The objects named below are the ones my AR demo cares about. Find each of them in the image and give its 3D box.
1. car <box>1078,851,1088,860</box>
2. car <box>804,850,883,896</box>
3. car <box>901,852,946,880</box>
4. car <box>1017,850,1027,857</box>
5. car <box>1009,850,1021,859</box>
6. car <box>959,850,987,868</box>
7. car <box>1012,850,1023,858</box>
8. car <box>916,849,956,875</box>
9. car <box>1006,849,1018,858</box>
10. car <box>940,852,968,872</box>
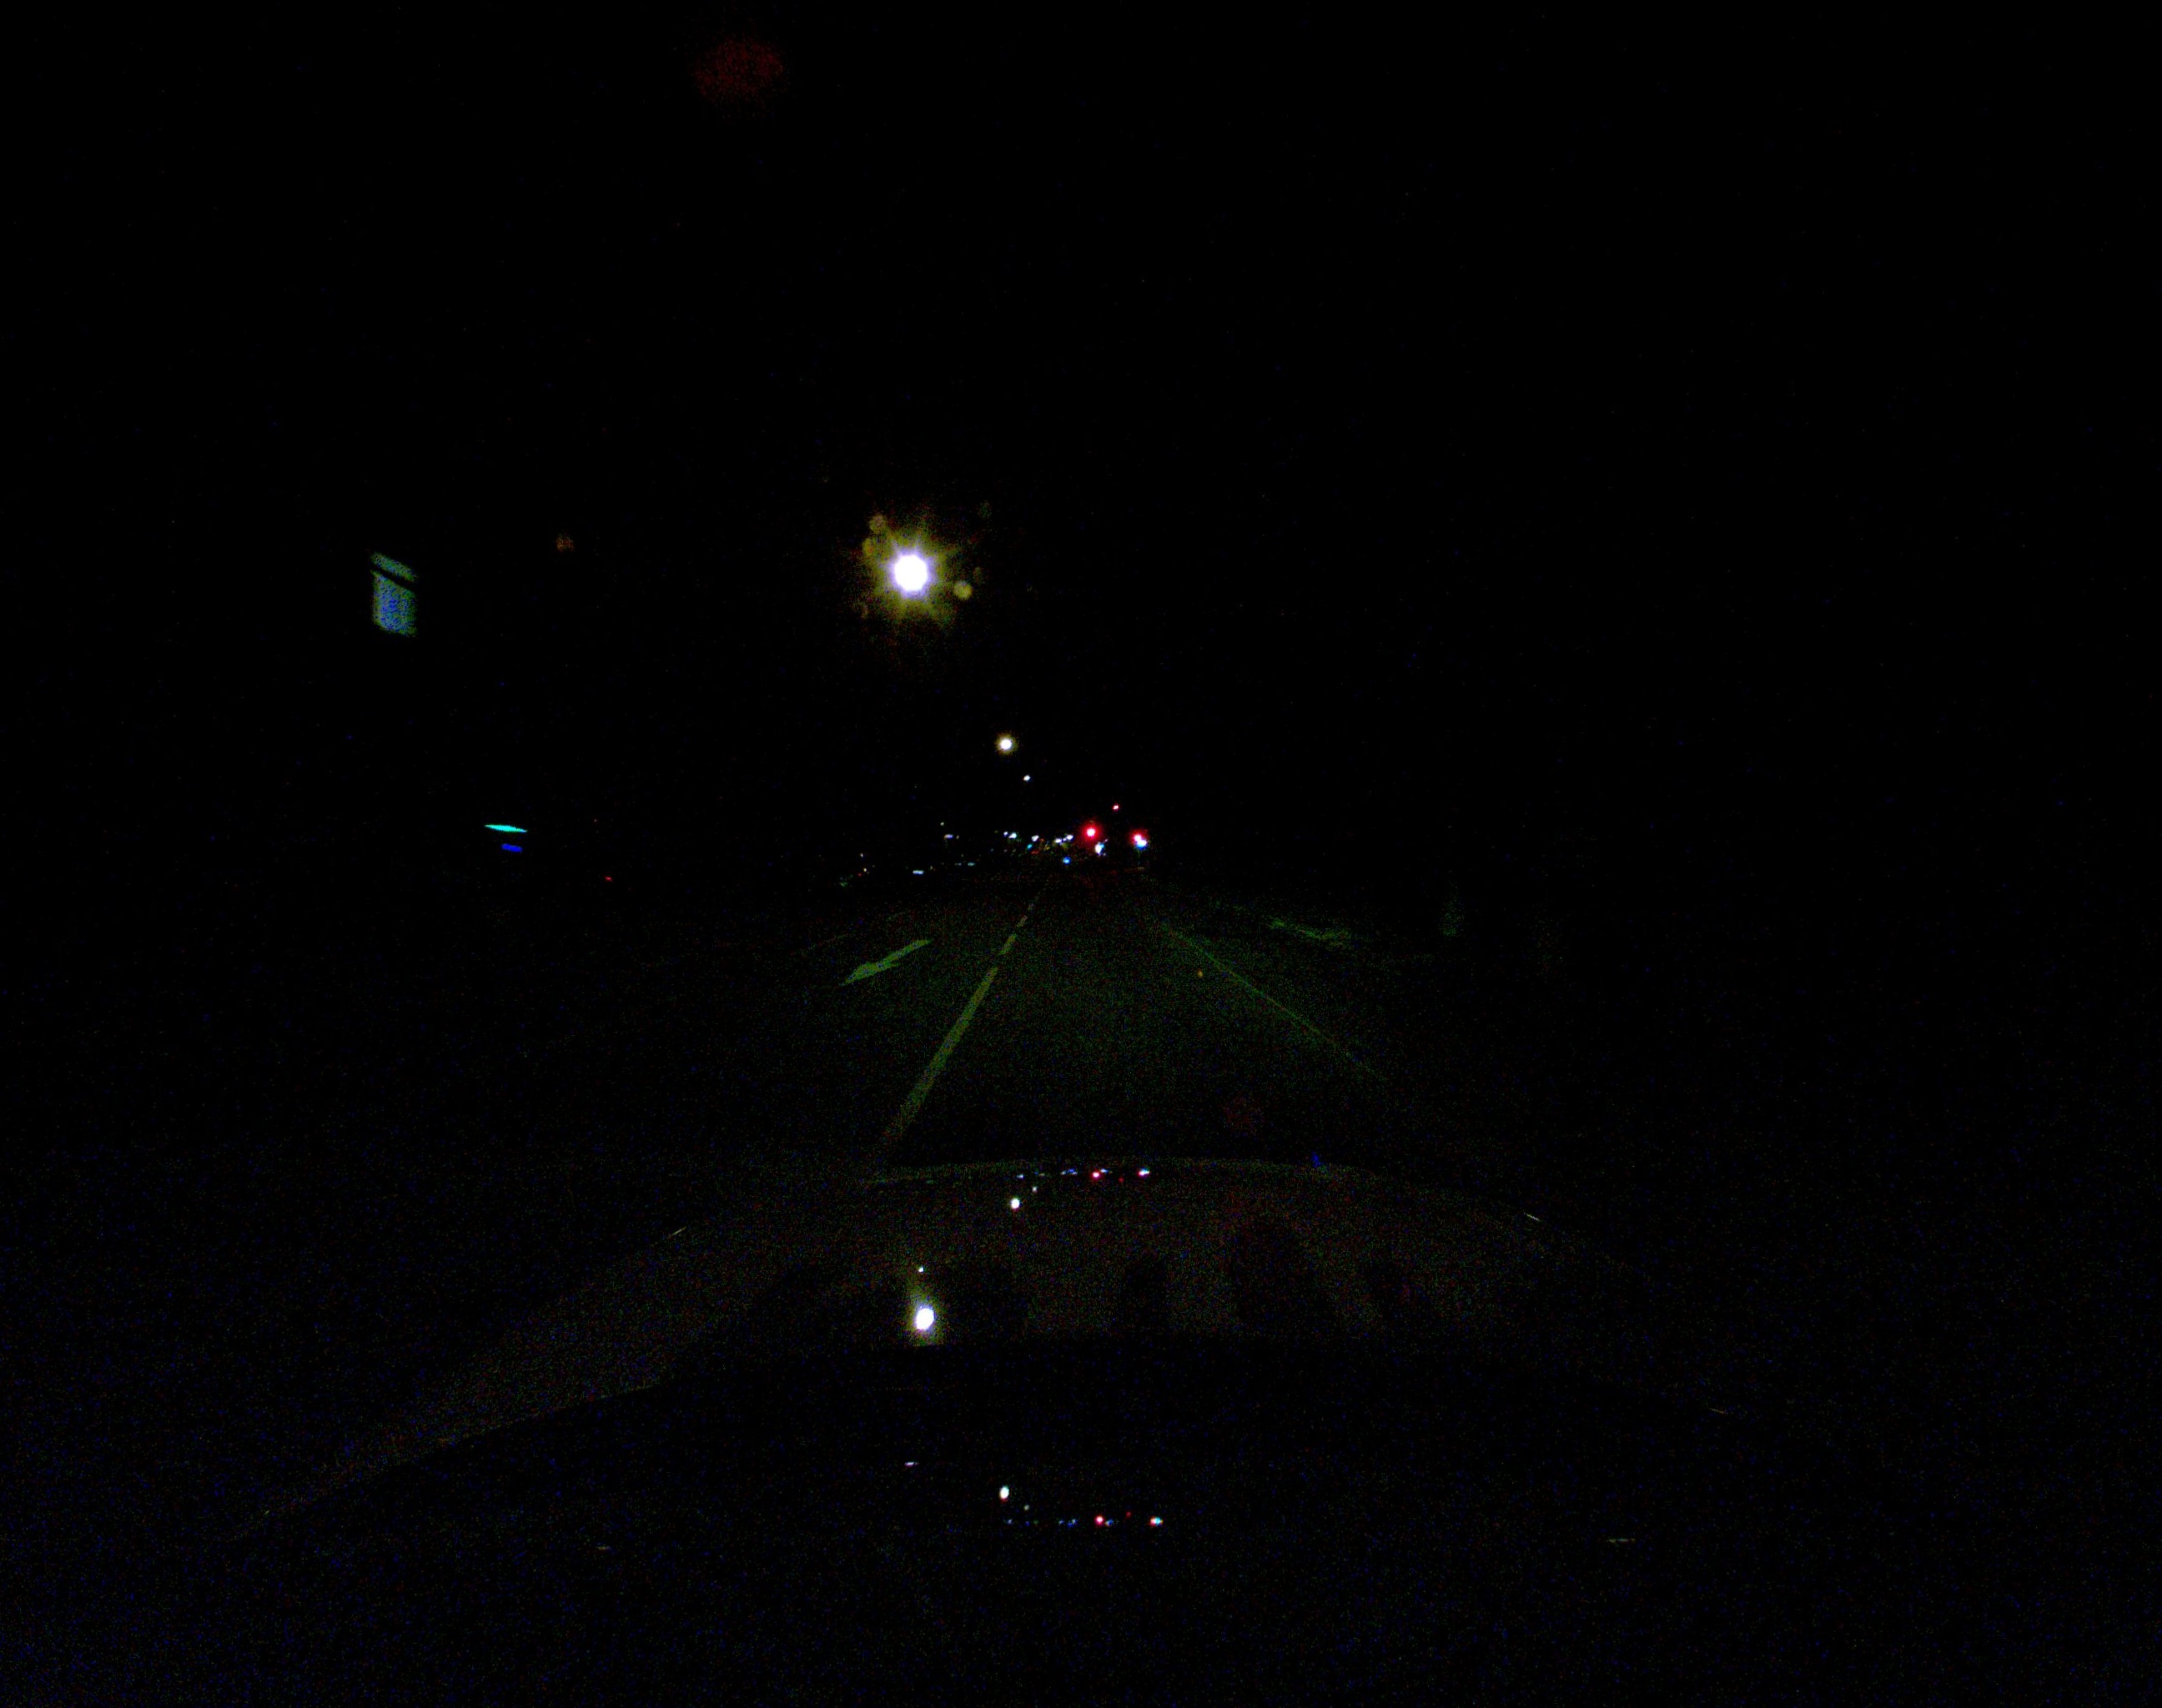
[{"bbox_3d":[0.335,0.282,130.452,1.646,1.431,4.000,0,0,0],"label":"car"},{"bbox_3d":[-8.353,0.618,28.957,1.709,1.494,3.987,1,0,-2],"label":"car"},{"bbox_3d":[-8.677,0.622,45.239,1.764,1.486,4.762,0,0,-3],"label":"car"},{"bbox_3d":[-11.077,-0.103,154.012,1.647,1.431,3.998,0,0,-1],"label":"car"},{"bbox_3d":[-10.814,0.037,133.398,1.647,1.431,3.998,0,0,-1],"label":"car"},{"bbox_3d":[-9.440,0.433,71.697,1.894,1.471,4.450,2,1,-1],"label":"car"},{"bbox_3d":[-10.879,-0.009,140.282,1.647,1.431,3.998,0,0,-1],"label":"car"},{"bbox_3d":[-8.868,0.472,50.267,1.763,1.486,4.860,0,0,-2],"label":"car"},{"bbox_3d":[-10.768,-0.055,127.389,1.647,1.431,3.998,0,0,-1],"label":"car"},{"bbox_3d":[-9.088,0.522,58.600,1.619,1.383,4.445,0,0,-4],"label":"car"}]
